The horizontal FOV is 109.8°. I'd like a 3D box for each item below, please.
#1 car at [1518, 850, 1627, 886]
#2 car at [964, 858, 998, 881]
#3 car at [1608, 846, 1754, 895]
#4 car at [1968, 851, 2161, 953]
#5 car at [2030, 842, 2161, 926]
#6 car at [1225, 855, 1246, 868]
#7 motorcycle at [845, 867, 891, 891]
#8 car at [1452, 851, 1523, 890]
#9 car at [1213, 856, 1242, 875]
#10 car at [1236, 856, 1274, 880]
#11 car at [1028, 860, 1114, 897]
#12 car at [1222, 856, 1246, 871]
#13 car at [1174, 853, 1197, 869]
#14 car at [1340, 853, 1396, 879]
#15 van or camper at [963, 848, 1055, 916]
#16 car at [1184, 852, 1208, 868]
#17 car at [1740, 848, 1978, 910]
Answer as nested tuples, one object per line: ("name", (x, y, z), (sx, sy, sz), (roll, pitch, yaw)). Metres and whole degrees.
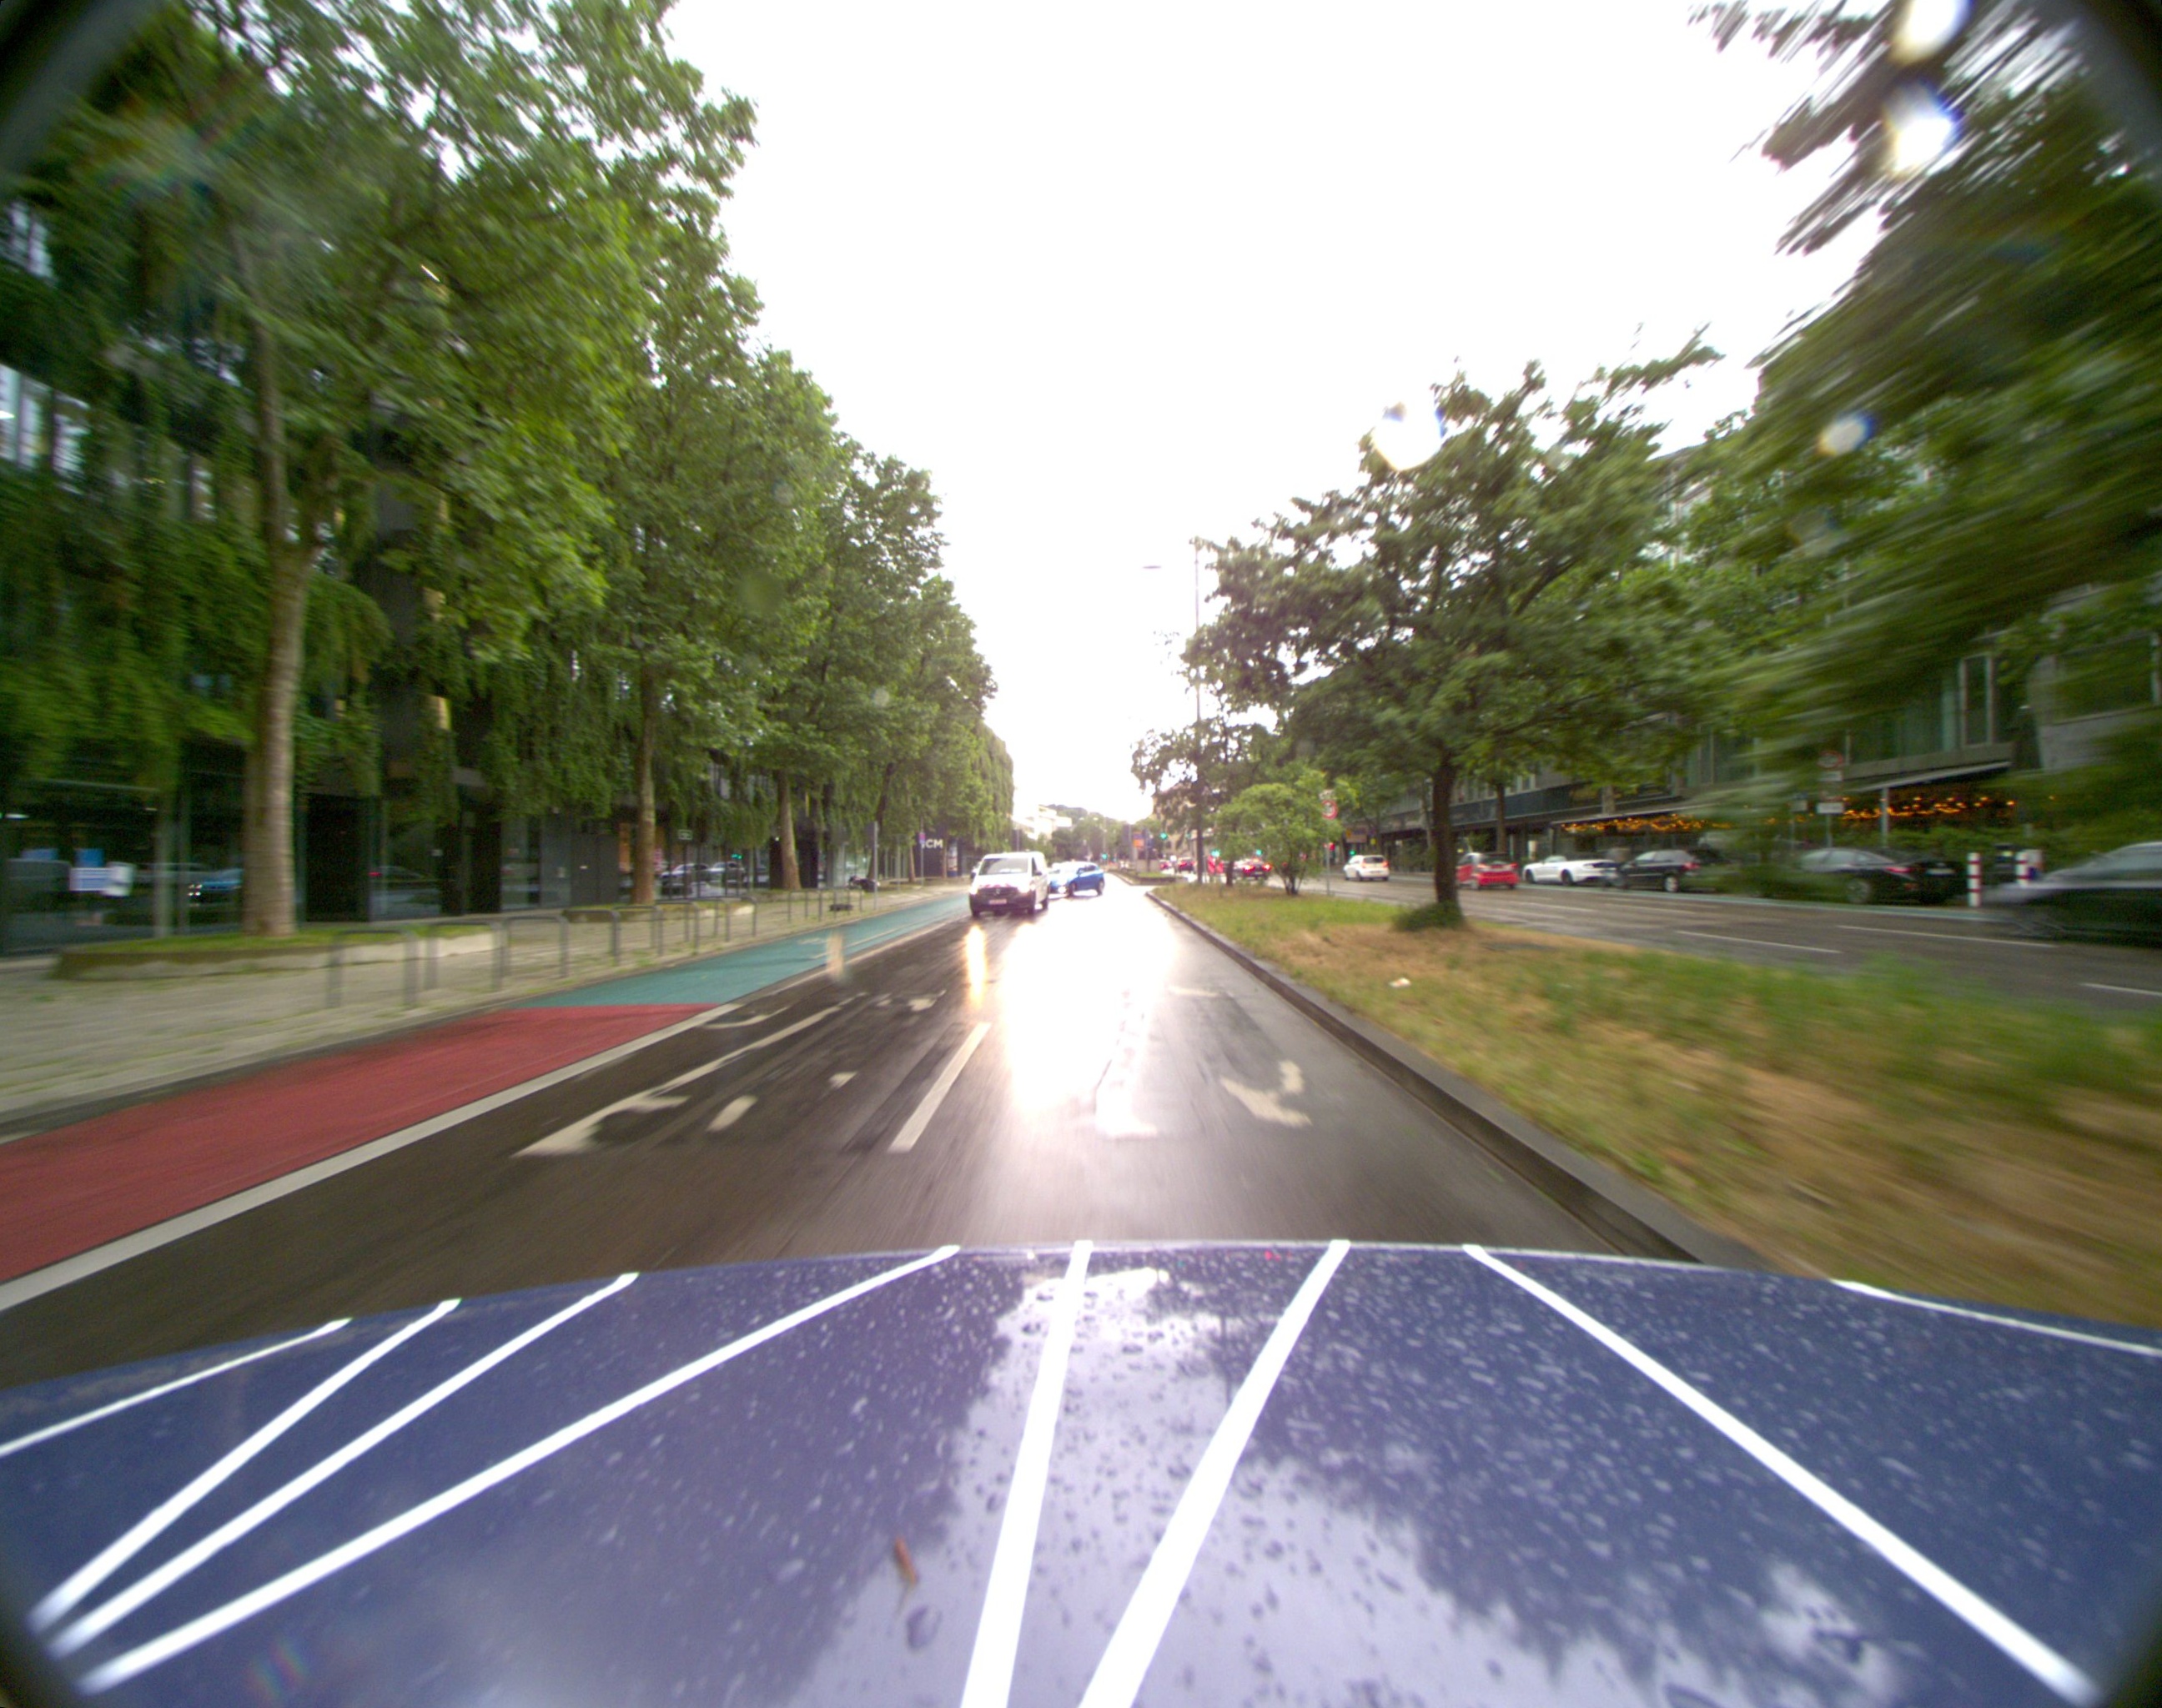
("car", (20.306, 0.565, 31.644), (1.563, 1.345, 4.683), (-2, -1, 1))
("car", (-7.658, 1.154, 58.427), (1.848, 1.623, 4.787), (-1, -1, 1))
("car", (20.306, 0.543, 25.955), (1.841, 1.499, 4.001), (-1, -1, 1))
("car", (15.724, 0.660, 10.699), (1.848, 1.381, 4.000), (-1, 0, 1))
("car", (19.791, 0.510, 13.446), (1.697, 1.459, 3.460), (-1, -1, 1))
("car", (19.093, 0.864, 94.045), (1.757, 1.556, 4.000), (-1, 0, 0))
("motorcycle", (-12.127, 1.404, 43.305), (2.313, 1.263, 1.053), (-2, 0, 0))
("car", (16.280, 0.643, 30.544), (1.497, 1.454, 2.732), (-1, 0, 3))
("car", (12.184, 0.928, 63.521), (1.754, 1.467, 4.096), (-1, 0, 1))
("car", (11.775, 0.901, 51.729), (1.753, 1.467, 4.096), (-2, 1, 2))
("car", (-0.369, 1.033, 33.517), (1.845, 1.473, 4.405), (-3, -1, 28))
("car", (15.656, 0.913, 77.739), (1.723, 1.482, 4.570), (-1, 0, 3))
("car", (12.089, 0.869, 87.922), (1.840, 1.756, 5.109), (-1, -1, -1))
("car", (16.332, 0.686, 43.395), (1.848, 1.420, 3.643), (-1, -1, 1))
("van or camper", (-2.154, 0.833, 24.350), (1.998, 1.902, 5.253), (-1, -1, 5))
("car", (11.629, 0.635, 76.976), (1.739, 1.564, 4.832), (-1, -1, 2))
("car", (20.012, 0.605, 19.880), (1.697, 1.401, 4.457), (-1, -1, 1))
